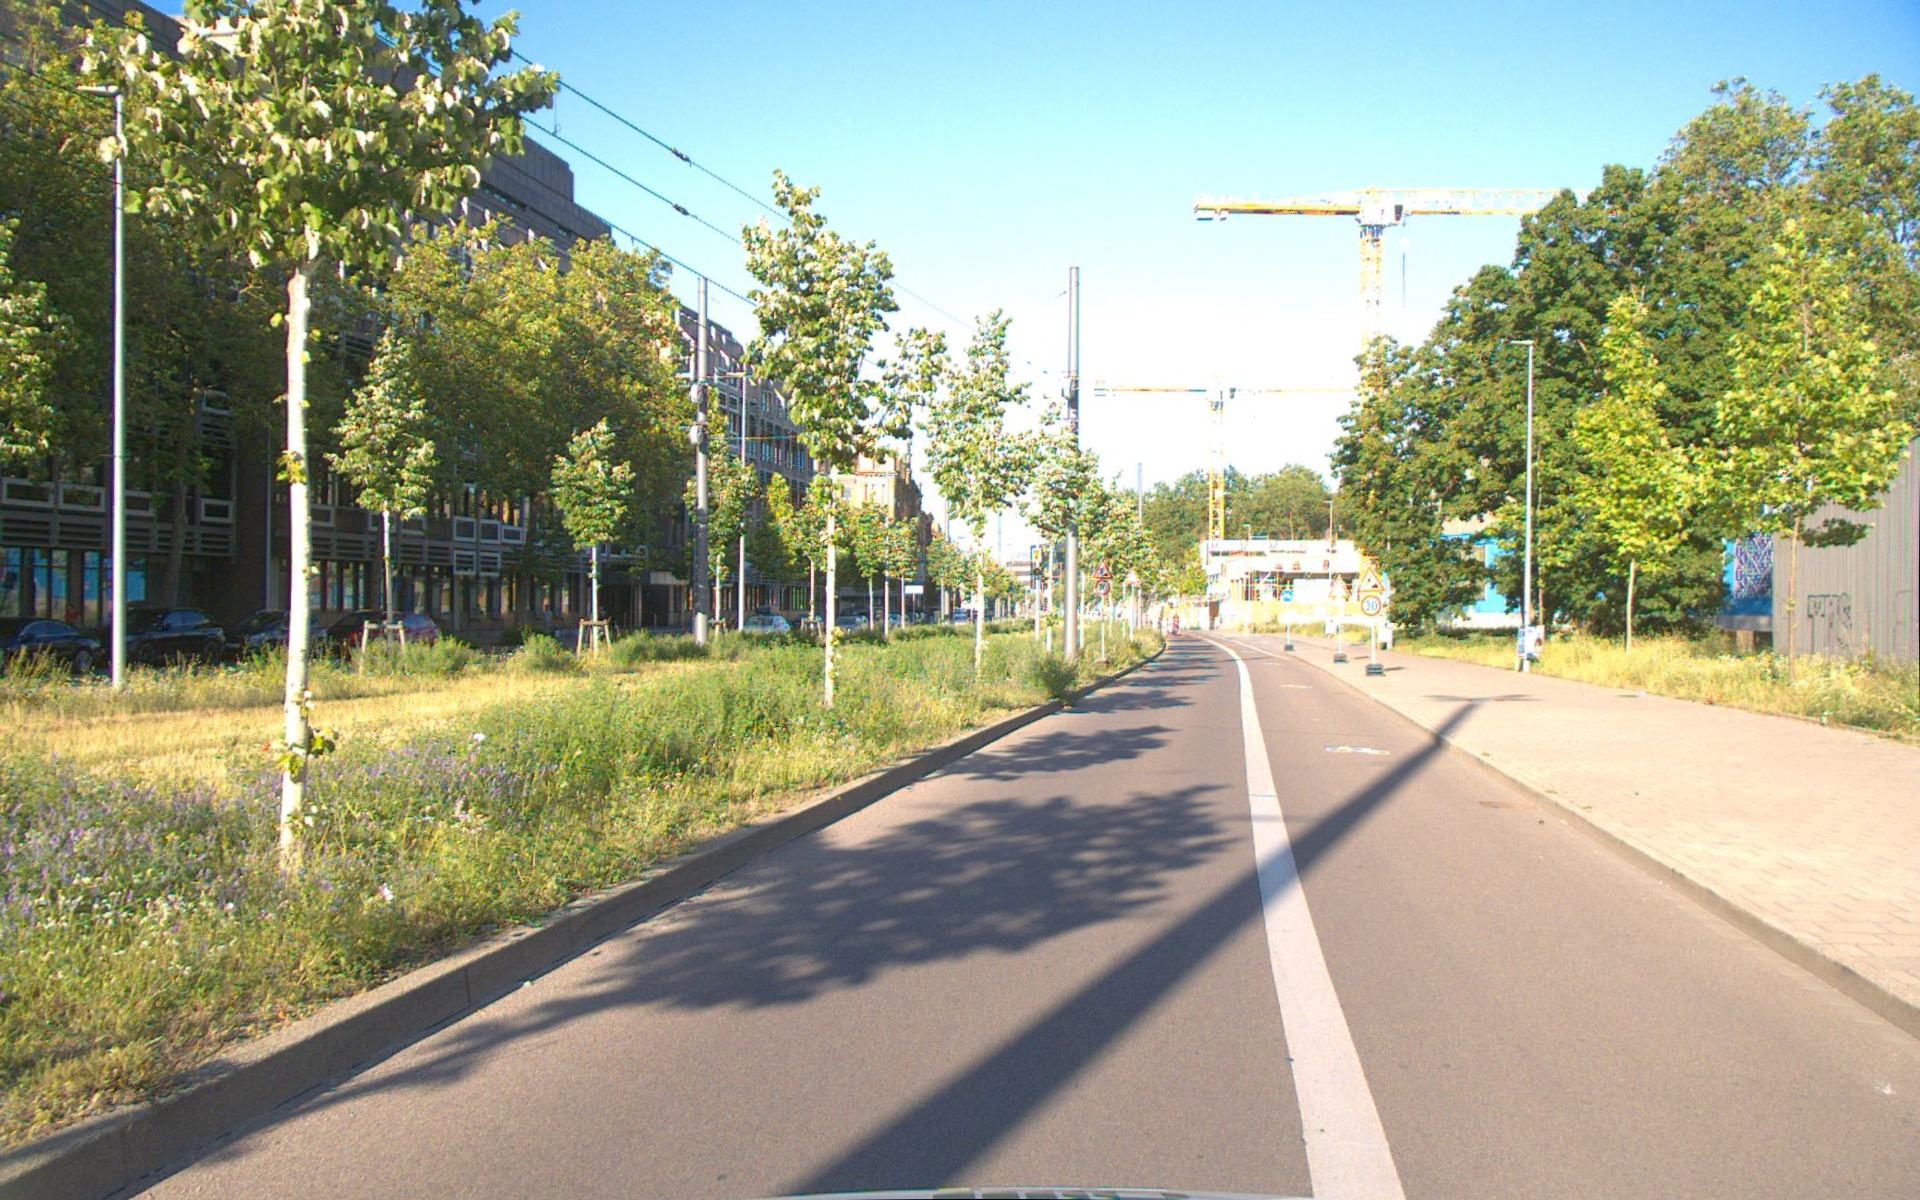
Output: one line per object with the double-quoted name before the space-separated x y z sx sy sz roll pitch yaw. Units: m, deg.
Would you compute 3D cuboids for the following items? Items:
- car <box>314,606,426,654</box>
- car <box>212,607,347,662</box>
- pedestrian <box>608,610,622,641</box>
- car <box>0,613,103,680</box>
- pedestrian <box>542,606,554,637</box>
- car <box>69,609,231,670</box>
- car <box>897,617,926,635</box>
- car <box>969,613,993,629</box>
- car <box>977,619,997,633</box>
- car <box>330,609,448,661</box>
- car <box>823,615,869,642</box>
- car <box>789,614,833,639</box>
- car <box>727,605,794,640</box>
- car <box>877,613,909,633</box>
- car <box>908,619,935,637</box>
"car" -20.722 1.065 58.288 1.821 1.624 4.280 0 -1 10
"car" -21.824 1.095 53.219 1.869 1.661 4.366 -1 -1 12
"pedestrian" -17.863 1.314 85.647 0.651 1.559 0.649 0 -1 -5
"car" -23.612 1.123 41.107 1.951 1.547 4.003 1 0 13
"pedestrian" -20.777 1.087 83.440 0.400 1.589 0.447 0 -1 10
"car" -22.702 1.082 46.573 1.707 1.584 4.626 2 0 8
"car" -4.392 2.379 150.154 1.863 1.603 4.304 0 -1 8
"car" 2.169 2.164 168.540 1.863 1.603 4.413 0 -1 8
"car" 3.203 3.125 196.702 1.863 1.603 4.304 0 -1 8
"car" -17.359 1.055 50.461 1.674 1.478 3.578 -2 -1 15
"car" -6.821 1.711 99.741 1.720 1.542 4.586 0 -1 10
"car" -9.546 1.684 106.251 1.863 1.603 4.304 0 -1 8
"car" -9.380 1.047 78.310 1.801 1.622 4.697 -1 -1 11
"car" -5.509 1.908 136.636 1.863 1.603 4.304 0 -1 8
"car" -3.681 2.653 157.875 1.863 1.603 4.304 0 -1 8
